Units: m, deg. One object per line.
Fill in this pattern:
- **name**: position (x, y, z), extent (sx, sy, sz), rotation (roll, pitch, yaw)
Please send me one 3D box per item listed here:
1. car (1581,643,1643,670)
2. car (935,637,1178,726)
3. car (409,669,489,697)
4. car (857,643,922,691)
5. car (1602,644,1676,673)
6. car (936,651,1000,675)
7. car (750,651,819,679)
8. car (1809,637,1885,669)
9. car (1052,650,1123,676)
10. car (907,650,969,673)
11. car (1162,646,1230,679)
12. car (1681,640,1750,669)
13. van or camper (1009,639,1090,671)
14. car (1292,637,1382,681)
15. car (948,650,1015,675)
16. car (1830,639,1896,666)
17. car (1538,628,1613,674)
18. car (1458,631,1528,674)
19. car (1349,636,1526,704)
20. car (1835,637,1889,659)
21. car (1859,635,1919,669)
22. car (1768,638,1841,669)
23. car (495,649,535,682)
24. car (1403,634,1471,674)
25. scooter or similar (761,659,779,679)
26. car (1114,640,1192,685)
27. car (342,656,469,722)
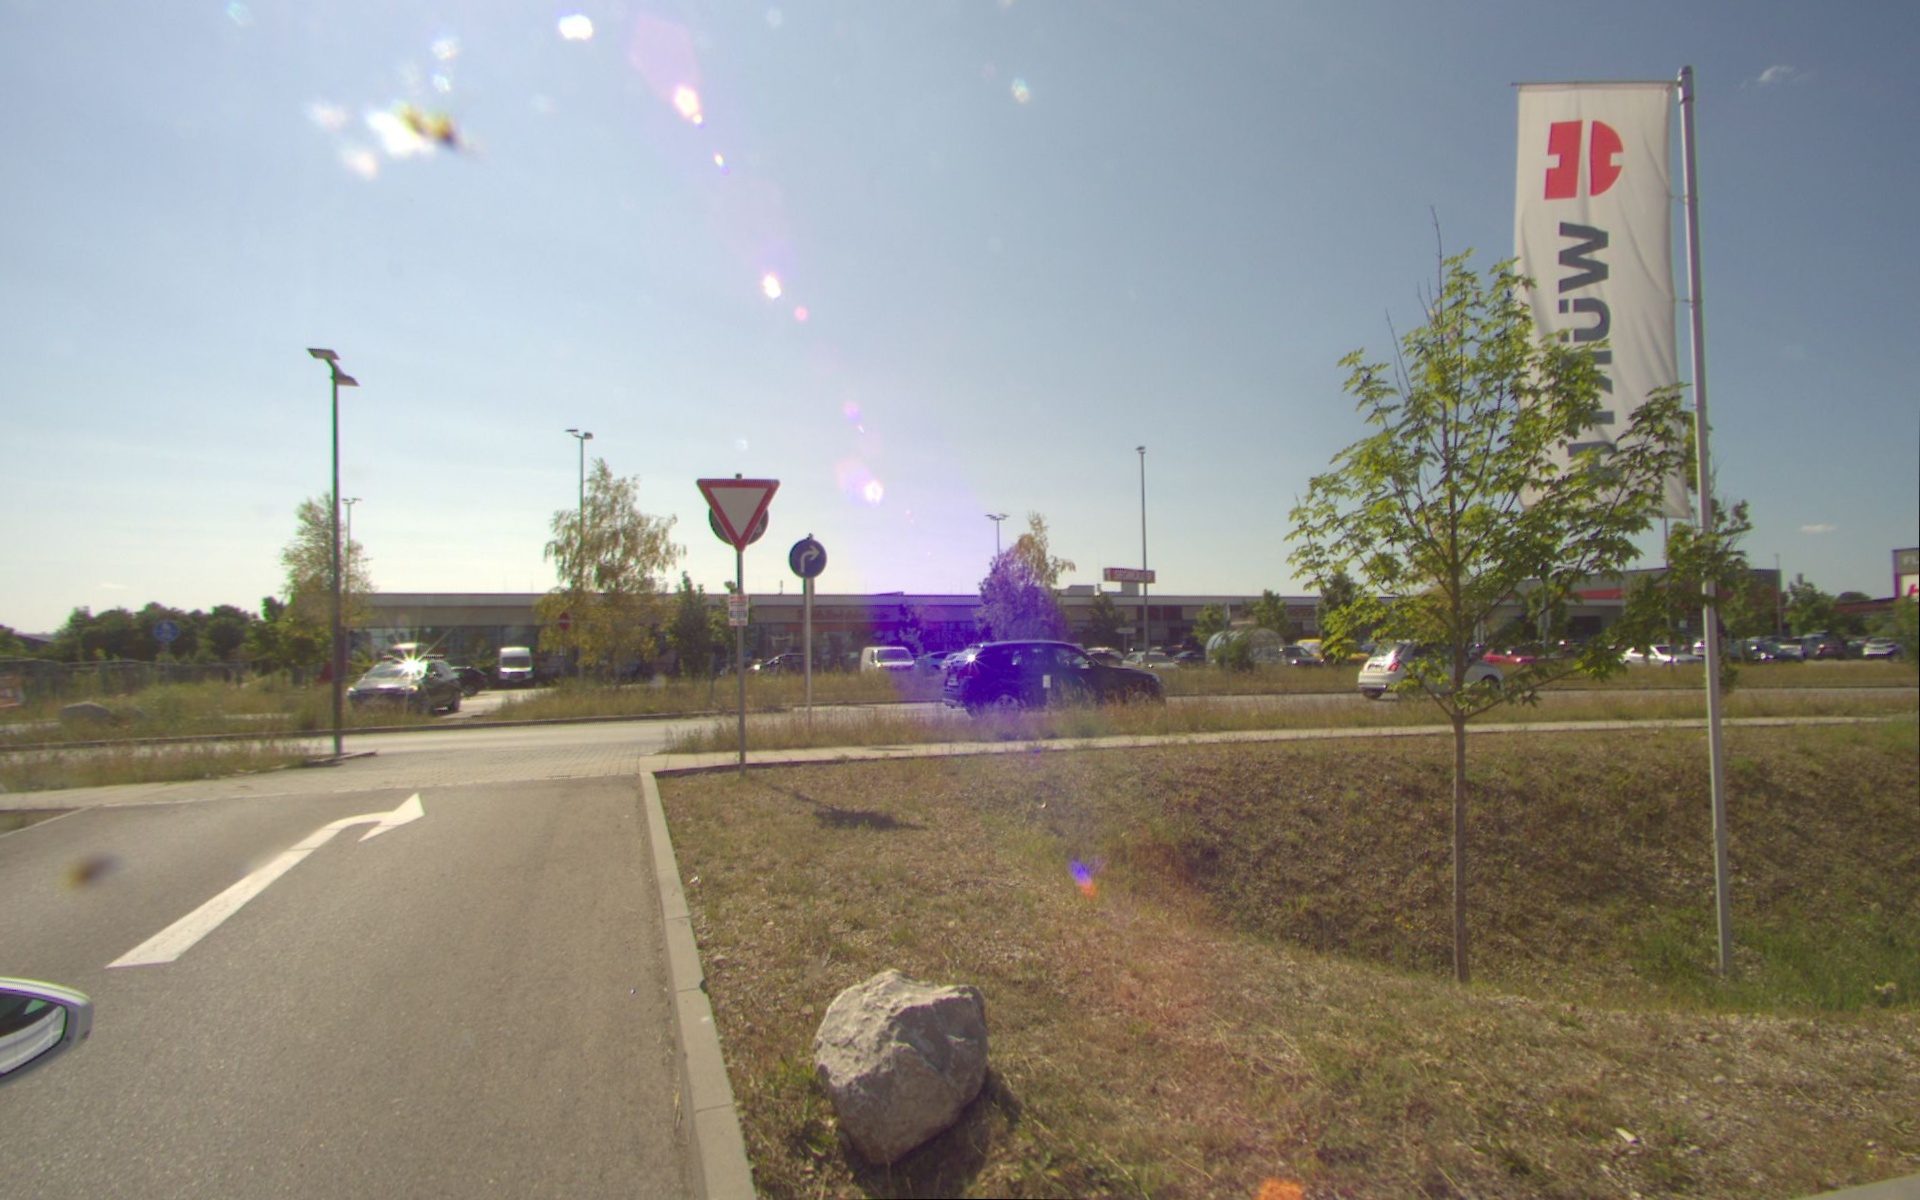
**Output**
- **car**: position (52.577, 4.562, 80.788), extent (4.411, 2.062, 1.996), rotation (1, -4, -22)
- **car**: position (1.812, 1.558, 19.477), extent (4.306, 1.570, 1.914), rotation (0, -3, -12)
- **car**: position (-27.580, 4.463, 54.125), extent (3.786, 1.440, 1.766), rotation (1, -4, -26)
- **car**: position (-3.299, 3.017, 45.622), extent (2.050, 2.038, 5.226), rotation (0, -3, -14)
- **car**: position (44.490, 3.814, 65.618), extent (4.244, 1.806, 1.996), rotation (1, -4, -22)
- **car**: position (0.502, 3.972, 63.576), extent (3.673, 1.408, 1.726), rotation (0, -3, -26)
- **car**: position (-10.340, 3.800, 58.936), extent (3.743, 1.527, 1.728), rotation (0, -3, -22)
- **car**: position (58.904, 3.509, 66.490), extent (4.411, 2.062, 1.996), rotation (1, -4, -22)
- **car**: position (7.787, 3.833, 61.190), extent (3.933, 1.526, 1.871), rotation (0, -4, -21)
- **car**: position (-1.429, 4.035, 65.919), extent (3.673, 1.408, 1.726), rotation (0, -3, -26)
- **car**: position (16.678, 4.395, 70.671), extent (4.418, 2.218, 1.992), rotation (1, -4, -28)
- **car**: position (55.778, 4.055, 73.935), extent (4.411, 2.062, 1.996), rotation (1, -4, -22)
- **van or camper**: position (5.922, 3.640, 66.290), extent (4.966, 2.038, 1.996), rotation (0, -3, -20)
- **car**: position (18.706, 2.952, 49.977), extent (2.123, 2.038, 5.119), rotation (-1, -3, -5)
- **car**: position (1.296, 3.784, 60.642), extent (3.673, 1.408, 1.726), rotation (0, -3, -26)
- **car**: position (69.578, 4.044, 77.143), extent (4.411, 2.062, 1.996), rotation (1, -4, -22)
- **car**: position (38.849, 3.216, 63.159), extent (4.418, 2.856, 1.992), rotation (1, -4, -28)
- **car**: position (36.201, 3.578, 67.967), extent (4.418, 2.856, 1.992), rotation (1, -4, -28)
- **car**: position (11.962, 1.747, 25.170), extent (3.714, 1.570, 1.741), rotation (0, -3, -13)
- **car**: position (85.793, 4.577, 95.258), extent (4.411, 2.062, 1.996), rotation (1, -4, -22)
- **car**: position (59.862, 3.318, 63.844), extent (4.411, 2.062, 1.996), rotation (1, -4, -22)
- **car**: position (58.332, 3.696, 69.157), extent (4.411, 2.062, 1.996), rotation (1, -4, -22)
- **car**: position (-29.376, 4.291, 65.941), extent (2.195, 2.001, 6.674), rotation (0, -3, -26)
- **car**: position (34.755, 3.933, 72.956), extent (4.411, 2.856, 1.996), rotation (1, -3, -22)
- **scooter or similar**: position (-10.824, 3.936, 56.937), extent (0.930, 1.093, 0.651), rotation (0, -2, -18)
- **car**: position (9.240, 3.000, 48.376), extent (2.123, 2.038, 5.118), rotation (-1, -3, -8)
- **car**: position (-14.321, 2.285, 26.139), extent (1.964, 1.535, 4.194), rotation (0, -4, -16)
